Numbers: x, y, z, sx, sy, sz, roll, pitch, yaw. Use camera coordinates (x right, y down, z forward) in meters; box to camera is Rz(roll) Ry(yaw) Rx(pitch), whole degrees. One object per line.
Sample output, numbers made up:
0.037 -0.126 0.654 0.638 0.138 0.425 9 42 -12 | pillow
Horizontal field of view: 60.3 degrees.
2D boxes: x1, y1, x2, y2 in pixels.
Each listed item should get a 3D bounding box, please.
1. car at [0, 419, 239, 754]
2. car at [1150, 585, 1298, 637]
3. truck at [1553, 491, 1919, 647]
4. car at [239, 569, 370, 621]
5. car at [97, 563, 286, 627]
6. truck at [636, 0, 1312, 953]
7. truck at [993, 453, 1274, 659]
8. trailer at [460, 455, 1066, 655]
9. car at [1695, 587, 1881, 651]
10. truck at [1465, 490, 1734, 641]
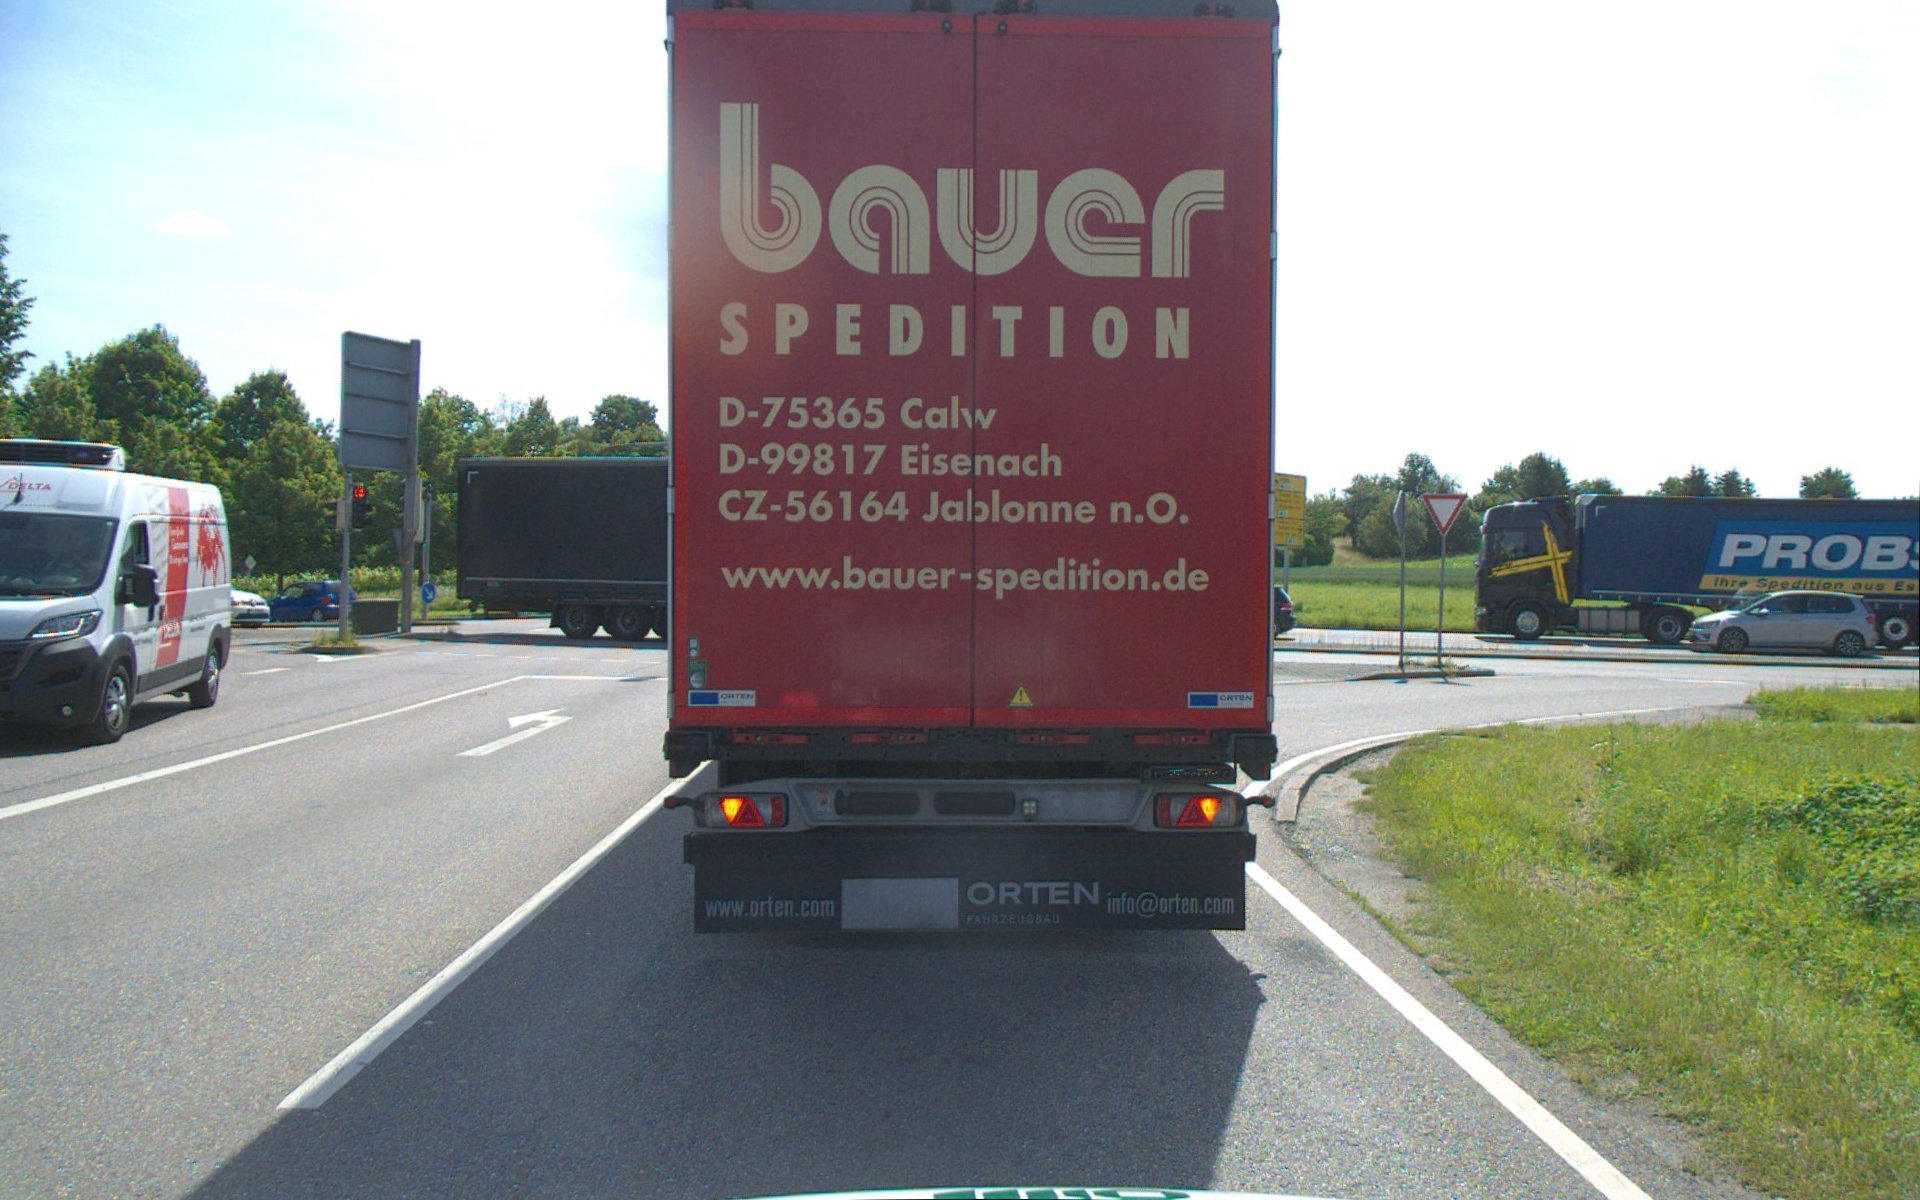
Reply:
-8.719 -0.168 16.156 2.082 2.700 5.964 1 1 -14 | car
7.223 0.295 45.223 3.902 1.333 1.768 1 -1 10 | car
23.786 -0.872 45.356 13.983 4.049 3.029 1 1 18 | truck
-21.587 -0.176 54.412 4.022 1.574 1.870 2 0 29 | car
-19.258 -0.136 41.459 4.157 1.486 1.811 1 1 17 | car
-0.092 -0.679 14.950 2.679 3.993 16.622 1 1 -1 | truck
3.768 -0.961 35.337 5.701 4.132 2.801 1 1 11 | truck
-4.492 -1.108 37.209 13.393 4.132 2.800 1 1 14 | trailer
20.621 0.462 41.342 3.910 1.517 1.539 1 -1 14 | car
18.040 -1.017 47.165 6.783 4.063 3.030 1 1 15 | truck
